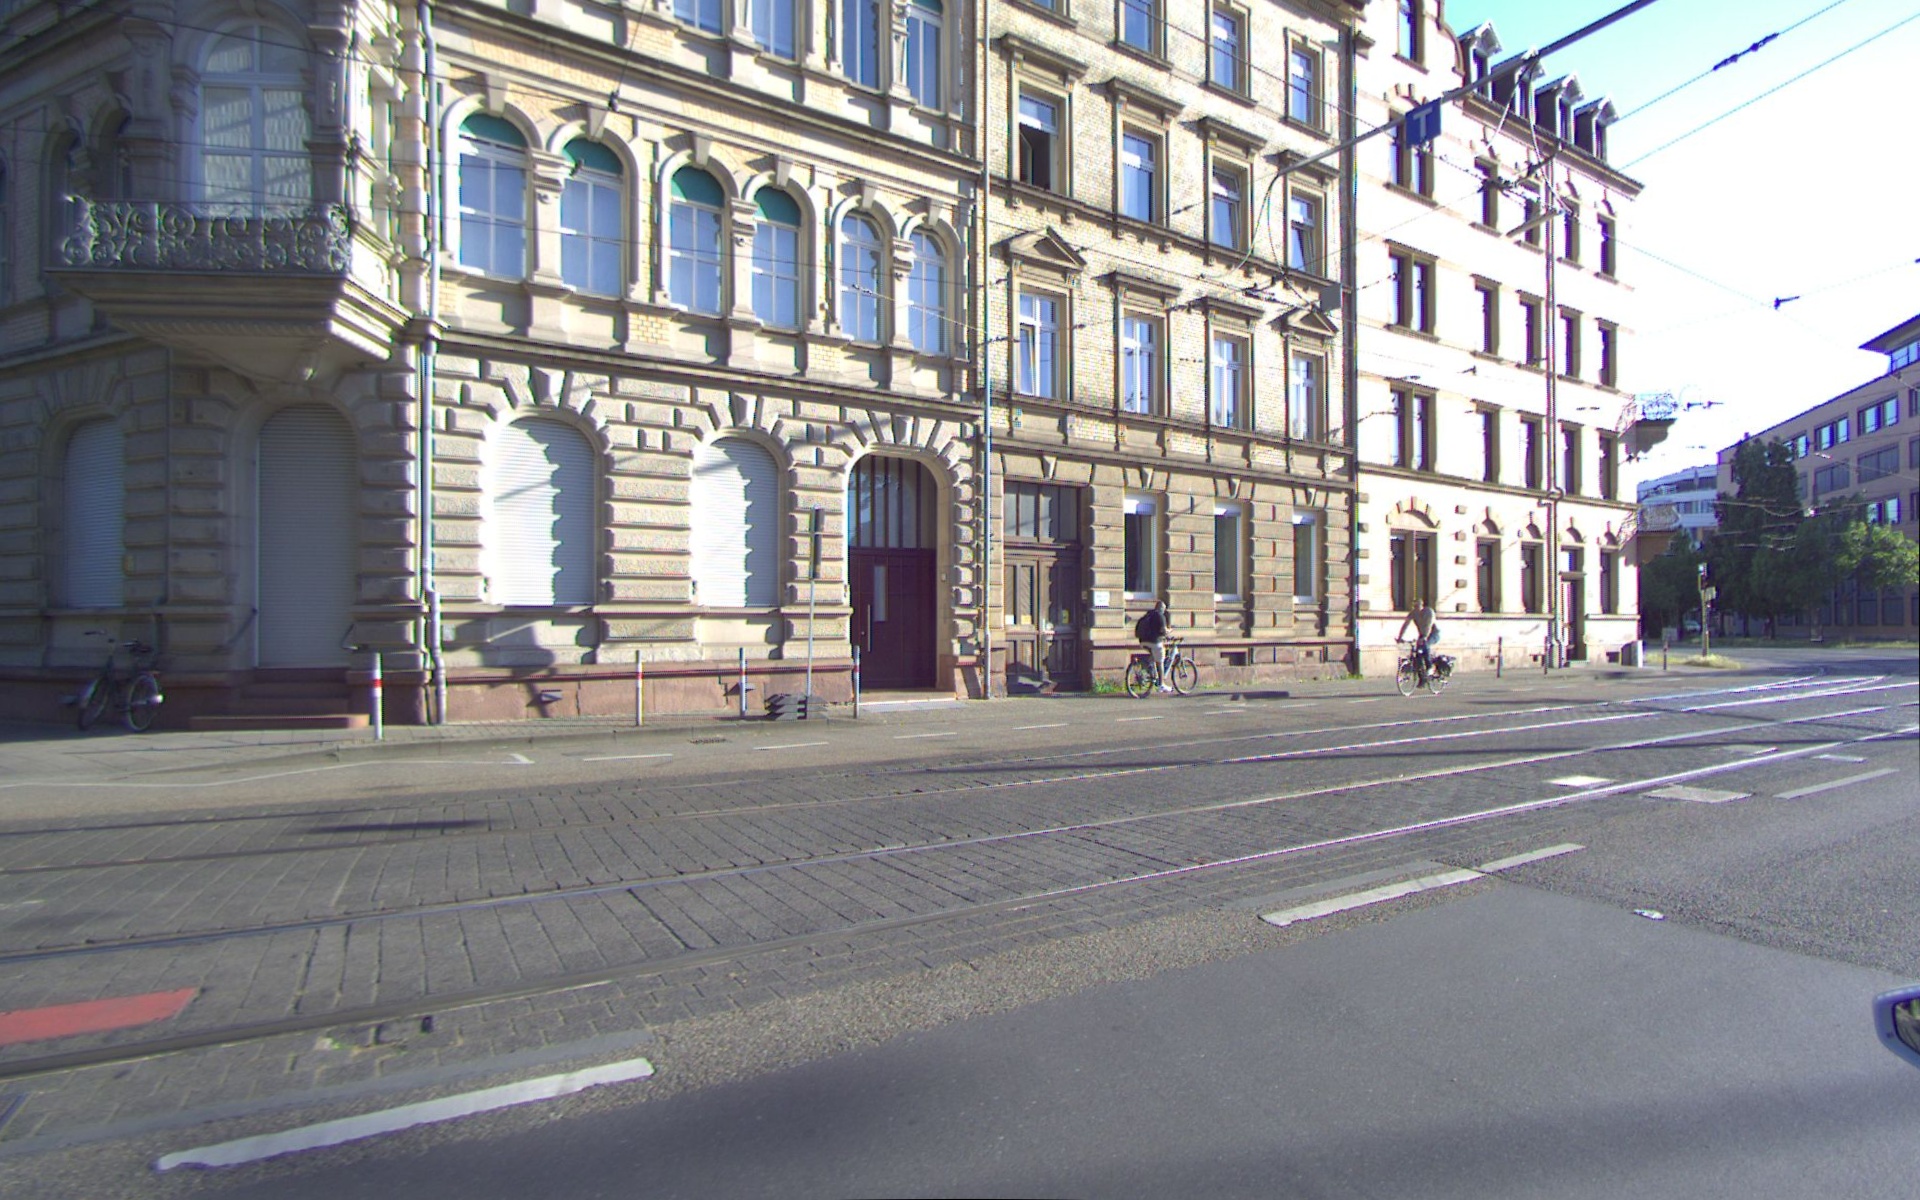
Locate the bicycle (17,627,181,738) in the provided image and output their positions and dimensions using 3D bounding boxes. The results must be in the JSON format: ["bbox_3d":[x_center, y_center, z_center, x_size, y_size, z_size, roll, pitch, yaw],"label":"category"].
[{"bbox_3d":[-10.795,0.988,12.564,2.639,1.283,0.644,-1,-1,29],"label":"bicycle"}]

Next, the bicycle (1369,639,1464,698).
[{"bbox_3d":[9.330,1.366,20.487,2.093,1.098,0.722,0,-1,-32],"label":"bicycle"}]

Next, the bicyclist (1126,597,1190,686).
[{"bbox_3d":[3.744,0.777,19.019,1.024,1.634,0.631,1,-1,-32],"label":"bicyclist"}]

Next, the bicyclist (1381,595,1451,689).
[{"bbox_3d":[9.297,0.841,20.485,1.199,1.865,0.724,0,-1,-32],"label":"bicyclist"}]

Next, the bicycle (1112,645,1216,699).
[{"bbox_3d":[3.898,1.341,19.100,2.064,0.952,0.643,1,-2,-32],"label":"bicycle"}]
